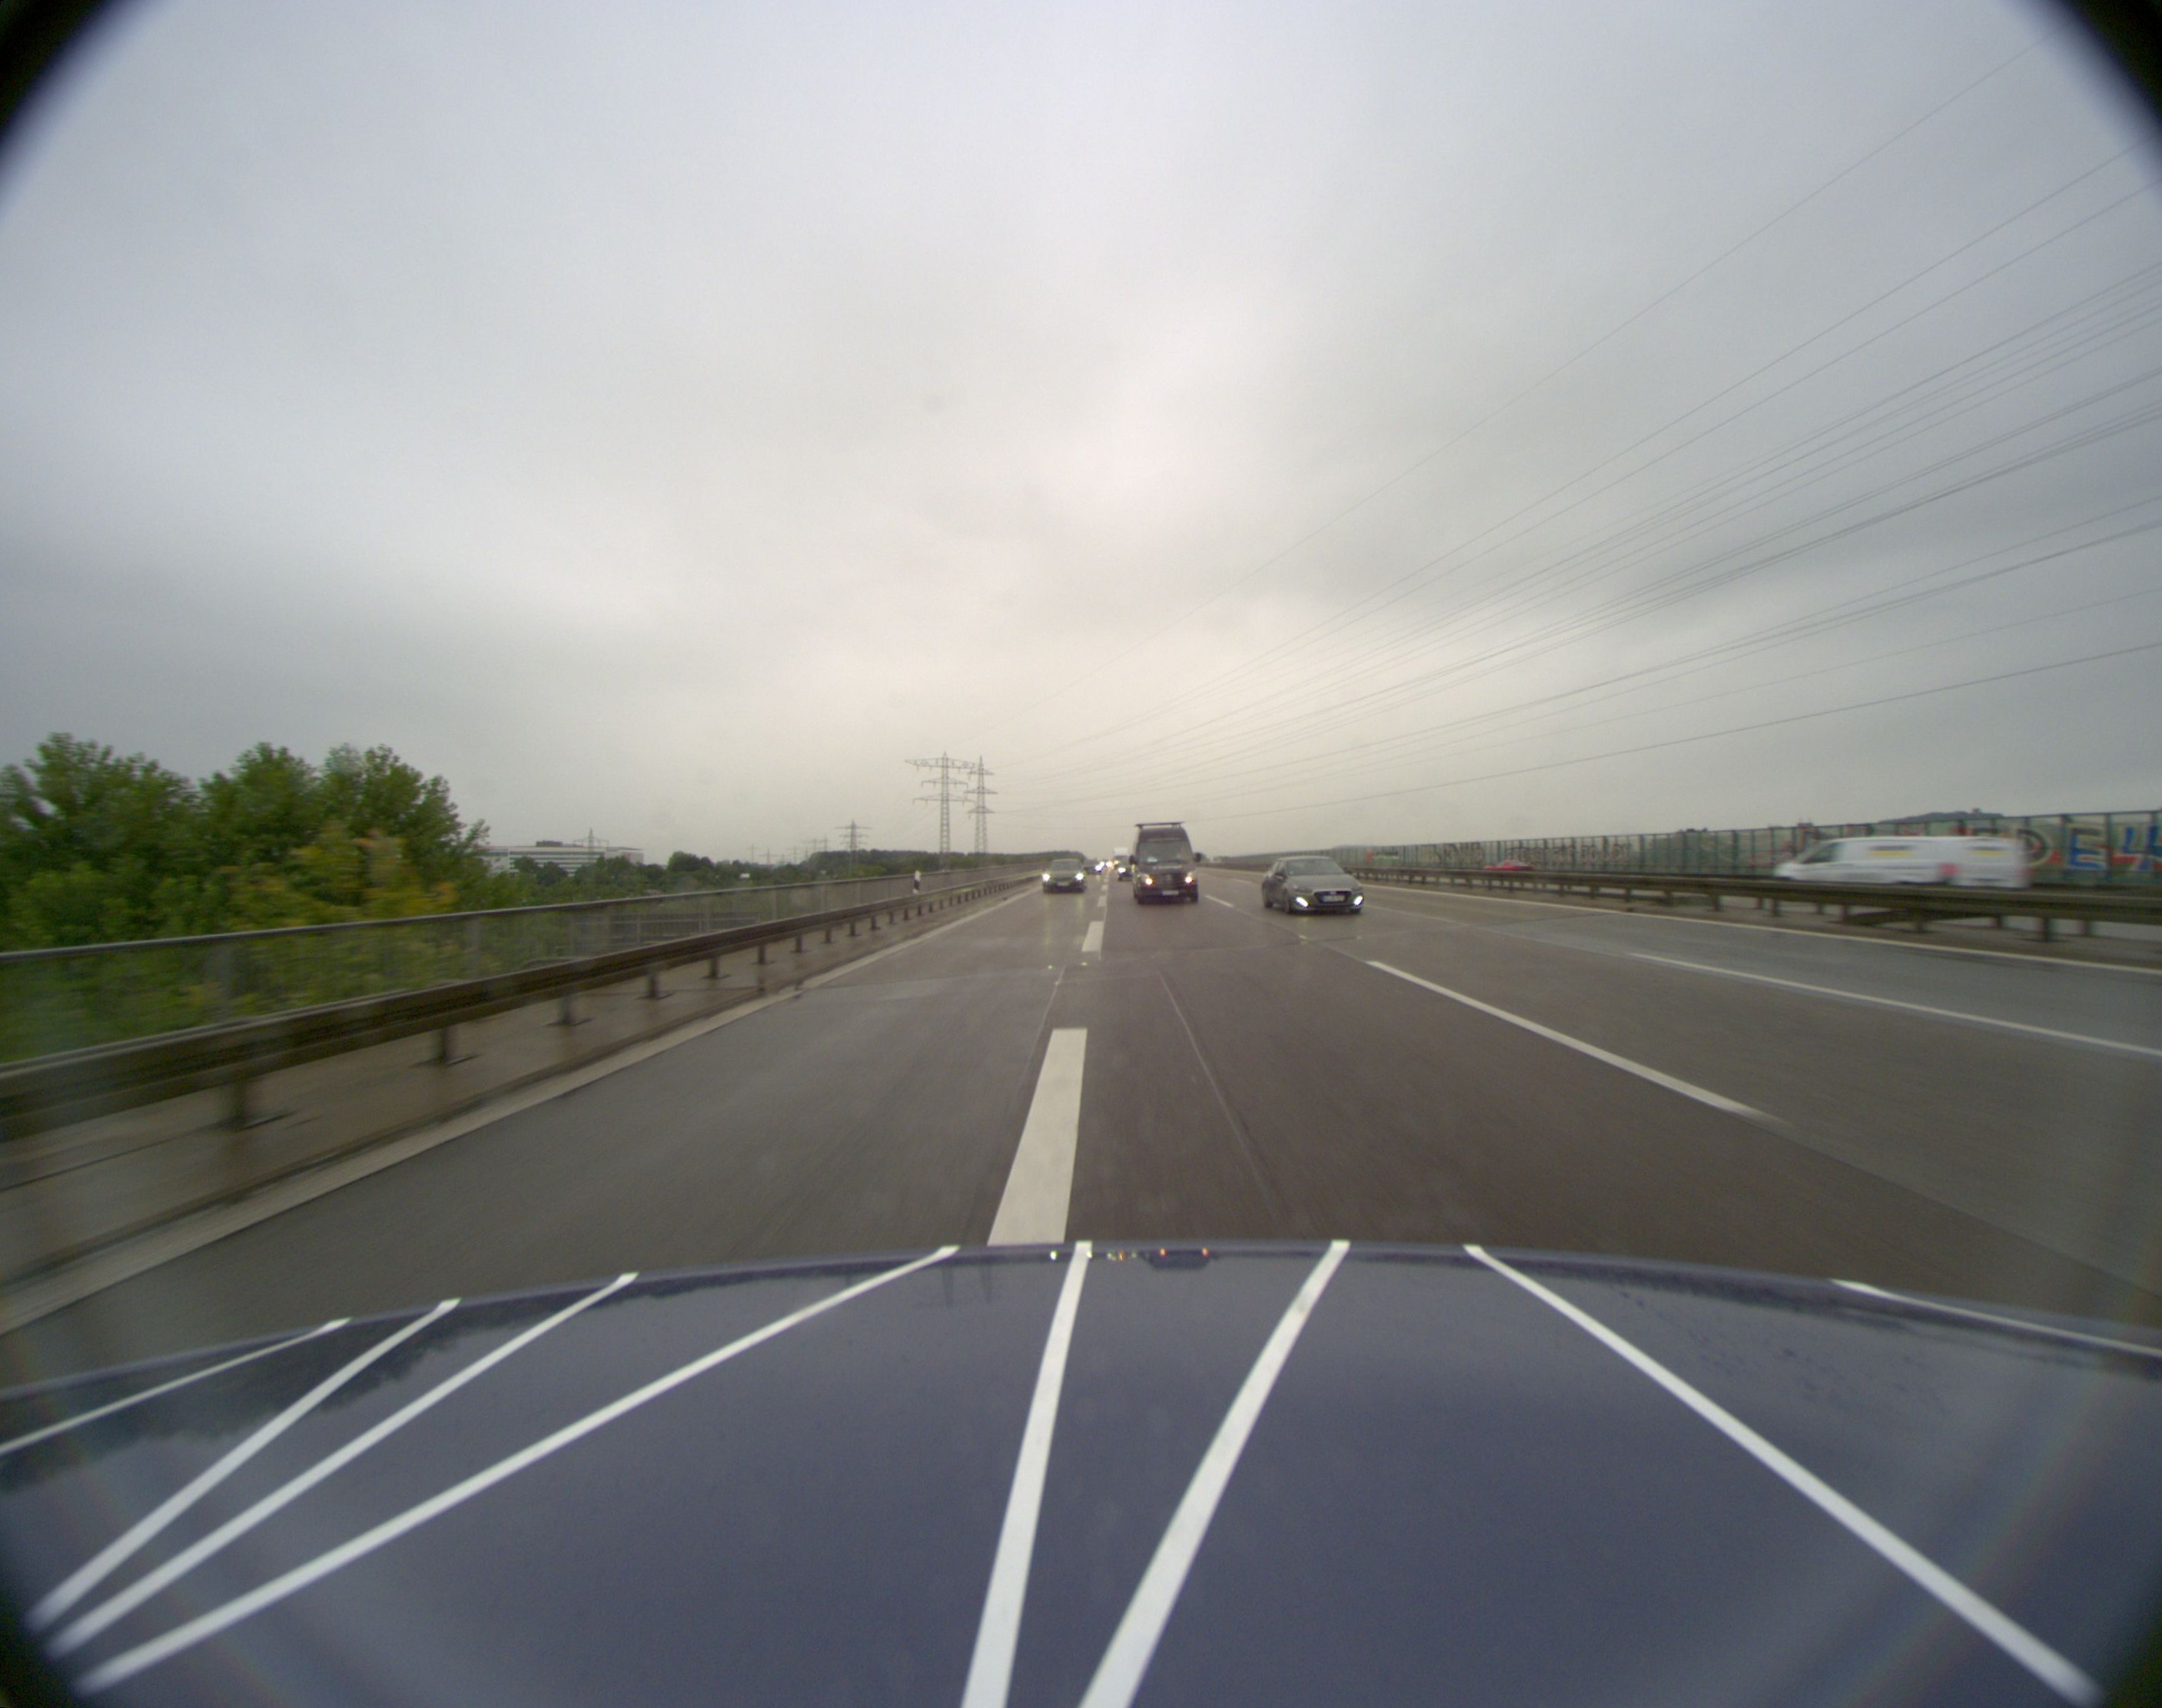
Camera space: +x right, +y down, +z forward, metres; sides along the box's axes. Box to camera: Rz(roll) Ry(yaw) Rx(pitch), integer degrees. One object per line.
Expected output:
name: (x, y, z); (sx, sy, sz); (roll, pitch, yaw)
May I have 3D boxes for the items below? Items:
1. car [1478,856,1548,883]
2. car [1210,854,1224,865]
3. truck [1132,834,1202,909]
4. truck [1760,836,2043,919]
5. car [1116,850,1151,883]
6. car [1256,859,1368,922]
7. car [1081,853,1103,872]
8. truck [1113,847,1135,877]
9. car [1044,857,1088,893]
car: (29.992, 1.024, 52.942); (1.998, 1.773, 5.107); (-1, 0, 1)
car: (27.938, 1.150, 156.254); (1.998, 2.002, 5.011); (-2, 1, 1)
truck: (2.891, 0.504, 26.739); (1.998, 2.324, 6.111); (-1, 1, 2)
truck: (21.596, 0.567, 20.451); (1.998, 1.919, 5.250); (-1, 0, 1)
car: (3.449, 0.822, 50.726); (1.998, 2.001, 4.785); (-2, -1, 1)
car: (5.899, 0.892, 20.012); (1.729, 1.394, 4.831); (-2, -1, 4)
car: (1.043, 0.745, 69.886); (1.998, 1.706, 4.000); (1, 0, 2)
truck: (6.295, 1.176, 112.050); (2.703, 4.171, 8.926); (-2, -1, 1)
car: (-0.646, 0.961, 35.859); (1.862, 1.531, 4.203); (-2, 0, 1)
